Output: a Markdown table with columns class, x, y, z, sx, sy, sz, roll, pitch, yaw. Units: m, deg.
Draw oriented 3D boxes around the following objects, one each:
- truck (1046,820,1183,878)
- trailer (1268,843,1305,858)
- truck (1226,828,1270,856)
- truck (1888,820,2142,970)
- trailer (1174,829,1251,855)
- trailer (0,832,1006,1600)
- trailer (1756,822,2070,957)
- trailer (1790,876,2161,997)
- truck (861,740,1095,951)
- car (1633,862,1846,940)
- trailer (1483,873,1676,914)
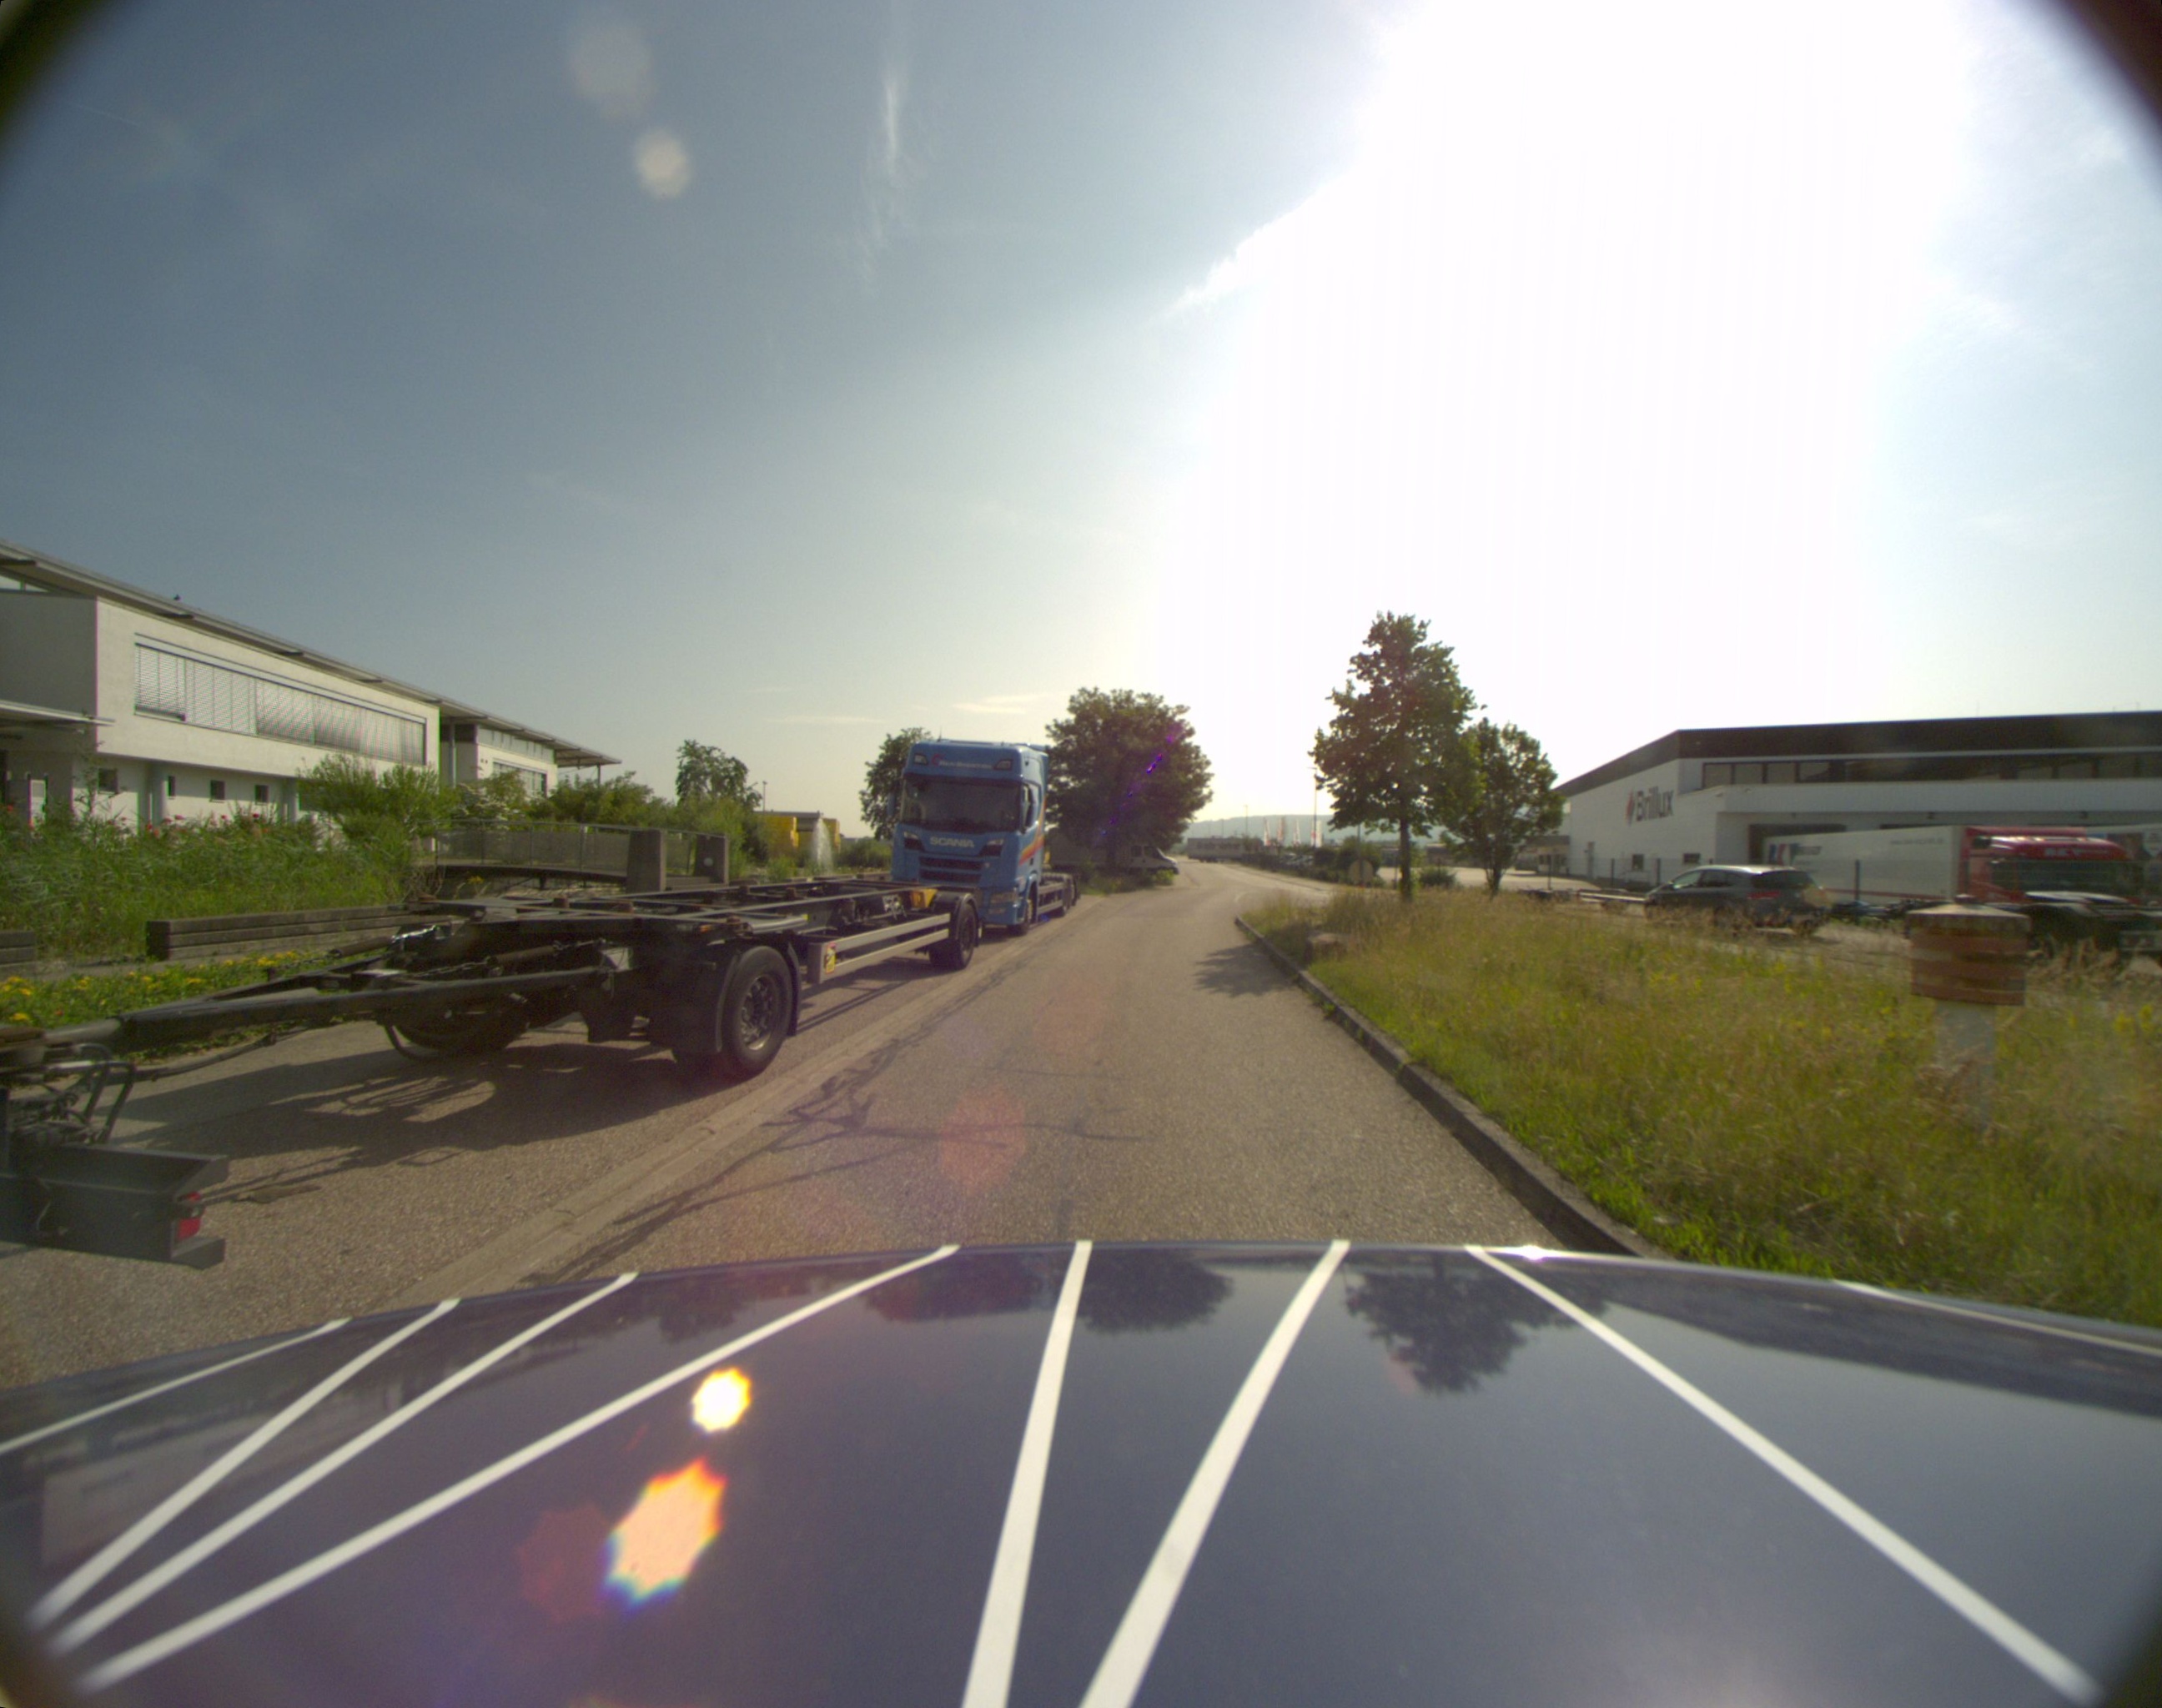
| class | x | y | z | sx | sy | sz | roll | pitch | yaw |
| --- | --- | --- | --- | --- | --- | --- | --- | --- | --- |
| truck | 2.118 | -0.353 | 47.299 | 8.225 | 3.351 | 2.741 | 1 | 2 | 6 |
| trailer | 38.639 | -0.600 | 142.761 | 6.312 | 2.590 | 2.858 | 3 | 1 | 20 |
| truck | 26.509 | -1.899 | 120.809 | 3.403 | 4.183 | 6.083 | -2 | 2 | -32 |
| truck | 28.388 | 1.039 | 23.510 | 2.515 | 4.048 | 5.551 | -1 | 2 | 22 |
| trailer | 21.698 | -1.995 | 126.958 | 3.506 | 4.183 | 14.194 | -2 | 2 | -37 |
| trailer | -3.476 | 0.752 | 3.433 | 2.751 | 1.565 | 16.178 | 3 | 1 | 7 |
| trailer | 30.830 | 0.873 | 29.464 | 2.484 | 4.019 | 13.907 | 0 | 2 | 22 |
| trailer | 15.199 | 1.165 | 12.536 | 2.686 | 1.445 | 5.080 | 0 | 0 | 8 |
| truck | -1.762 | -0.270 | 18.214 | 2.893 | 3.516 | 9.758 | 4 | 2 | 7 |
| car | 15.477 | 1.017 | 18.219 | 1.699 | 1.552 | 4.338 | -2 | 0 | 7 |
| trailer | 16.230 | 1.236 | 25.409 | 2.552 | 0.920 | 6.712 | -2 | 0 | 5 |
